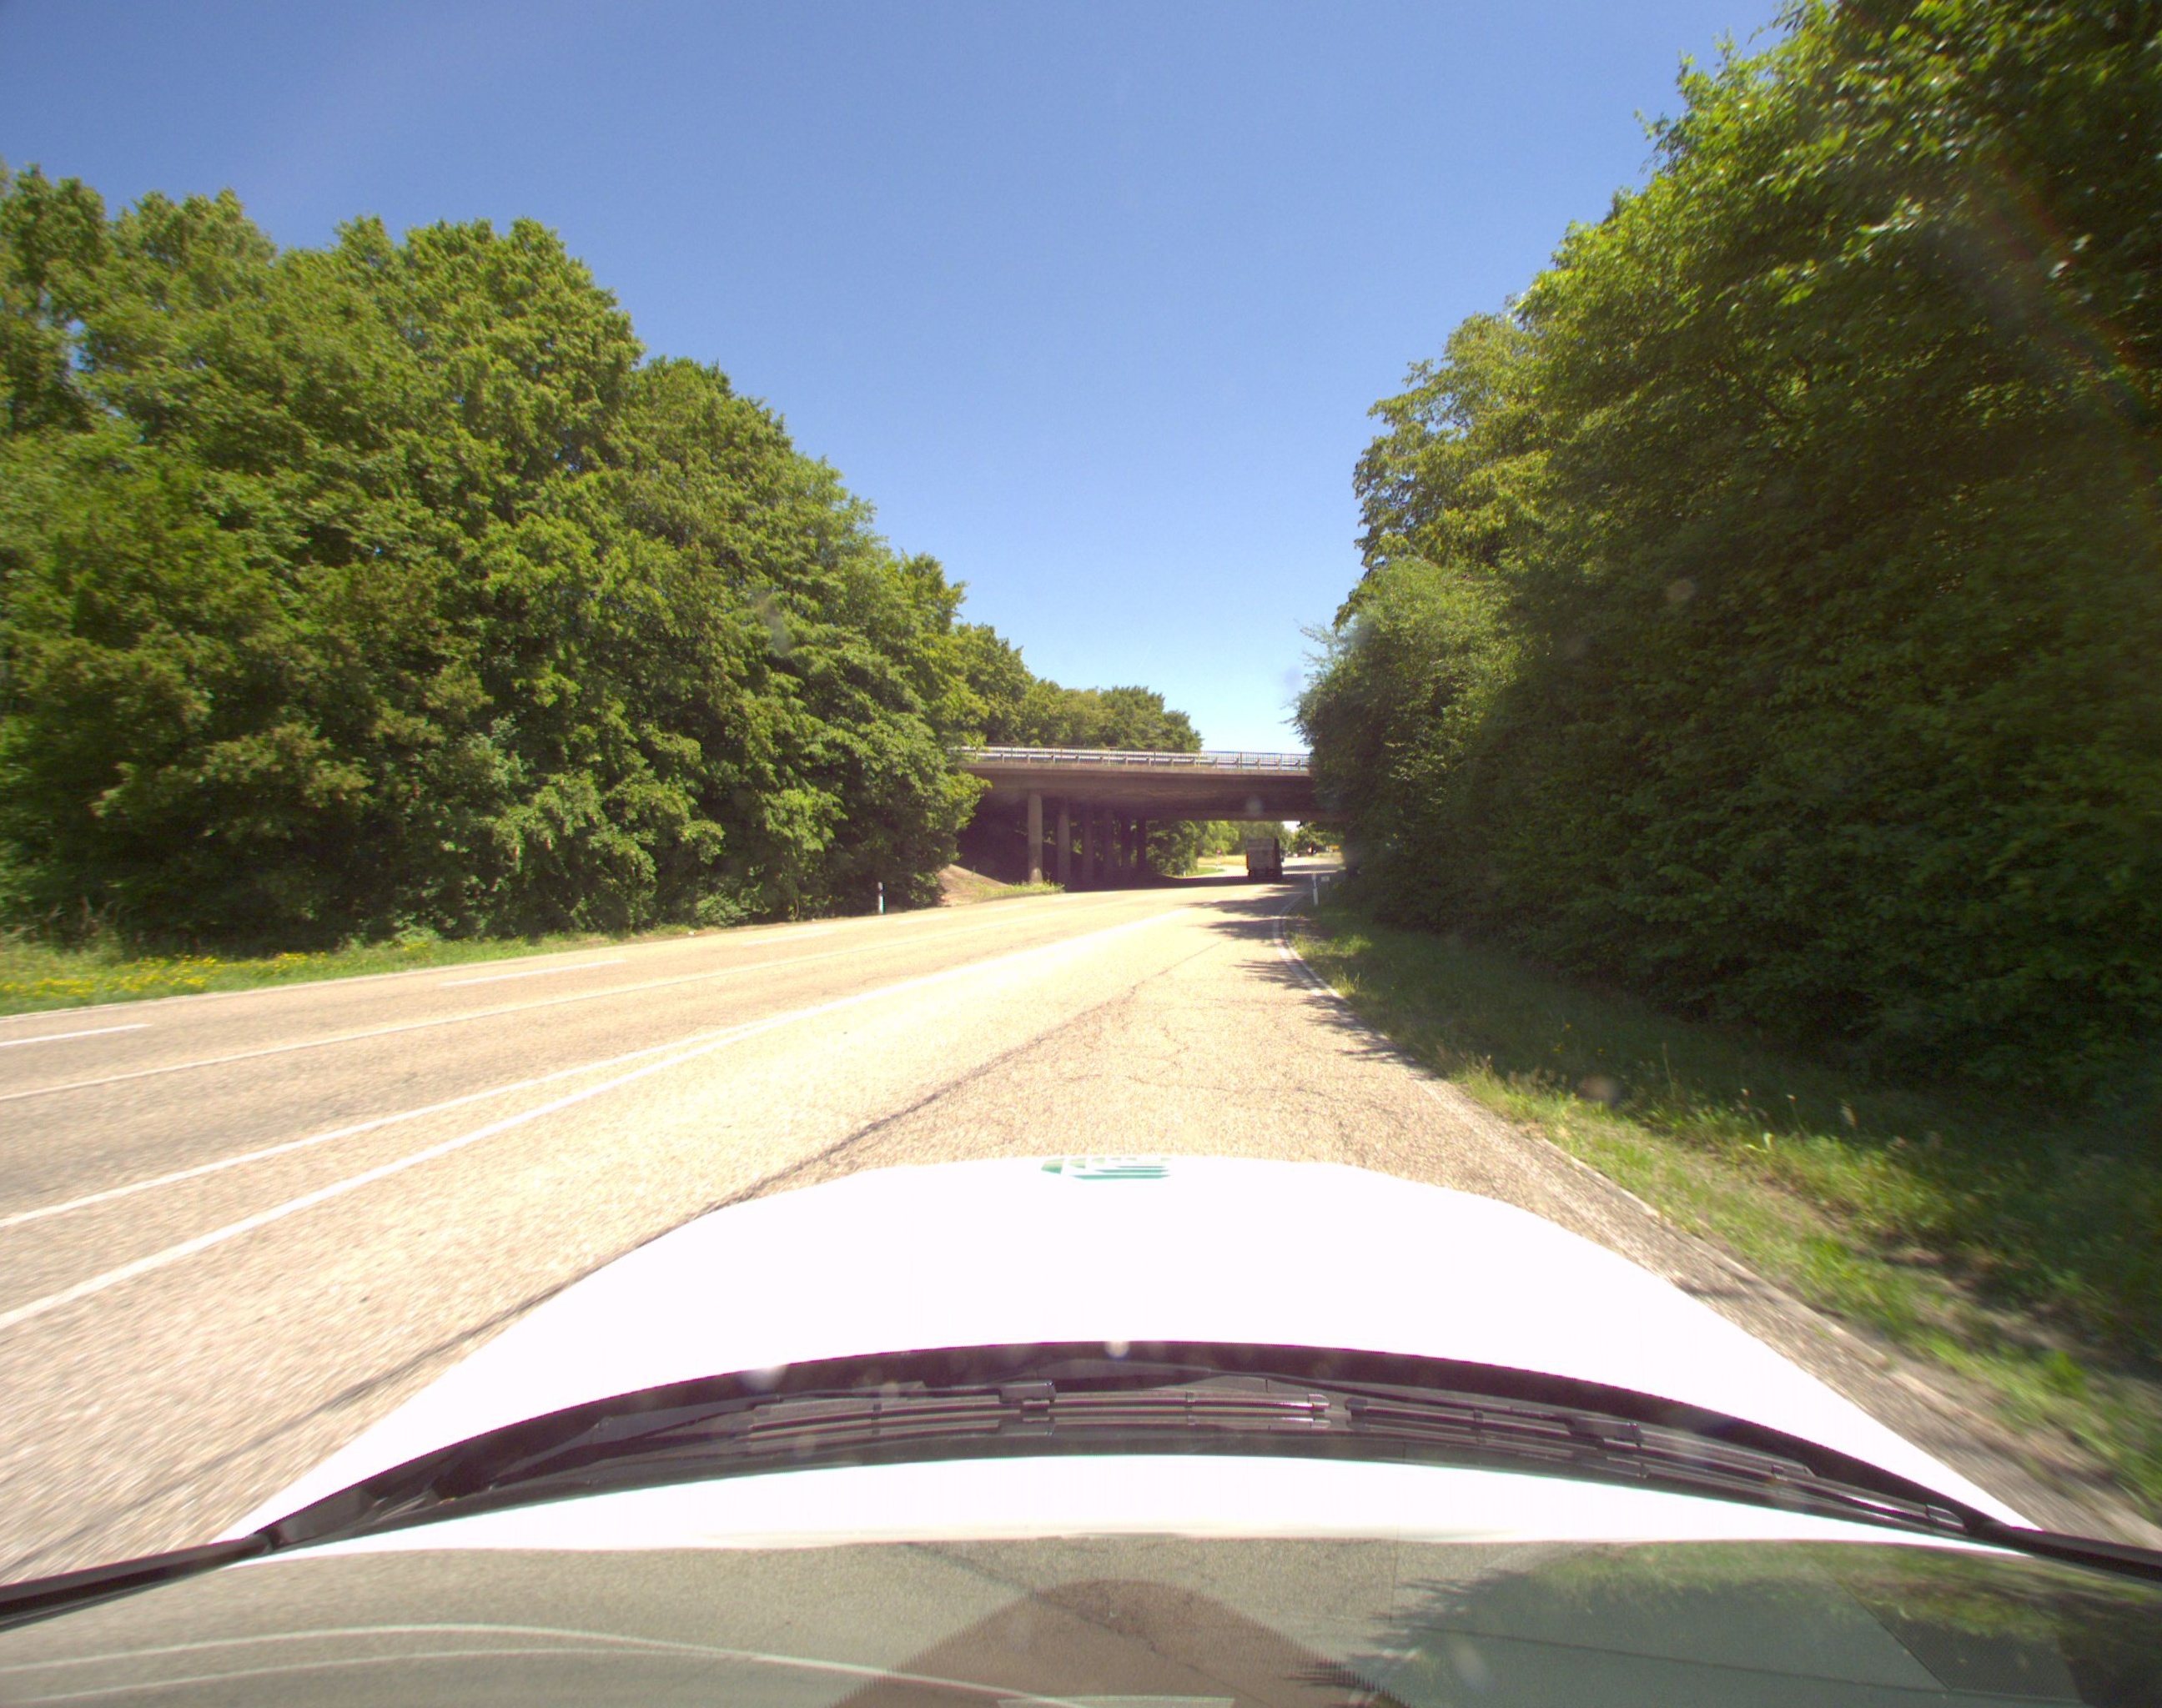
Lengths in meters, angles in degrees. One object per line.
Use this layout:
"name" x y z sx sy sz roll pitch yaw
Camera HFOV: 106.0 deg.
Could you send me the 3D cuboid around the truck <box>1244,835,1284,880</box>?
"truck" 13.252 0.274 58.723 2.223 2.985 5.921 -2 -1 18
